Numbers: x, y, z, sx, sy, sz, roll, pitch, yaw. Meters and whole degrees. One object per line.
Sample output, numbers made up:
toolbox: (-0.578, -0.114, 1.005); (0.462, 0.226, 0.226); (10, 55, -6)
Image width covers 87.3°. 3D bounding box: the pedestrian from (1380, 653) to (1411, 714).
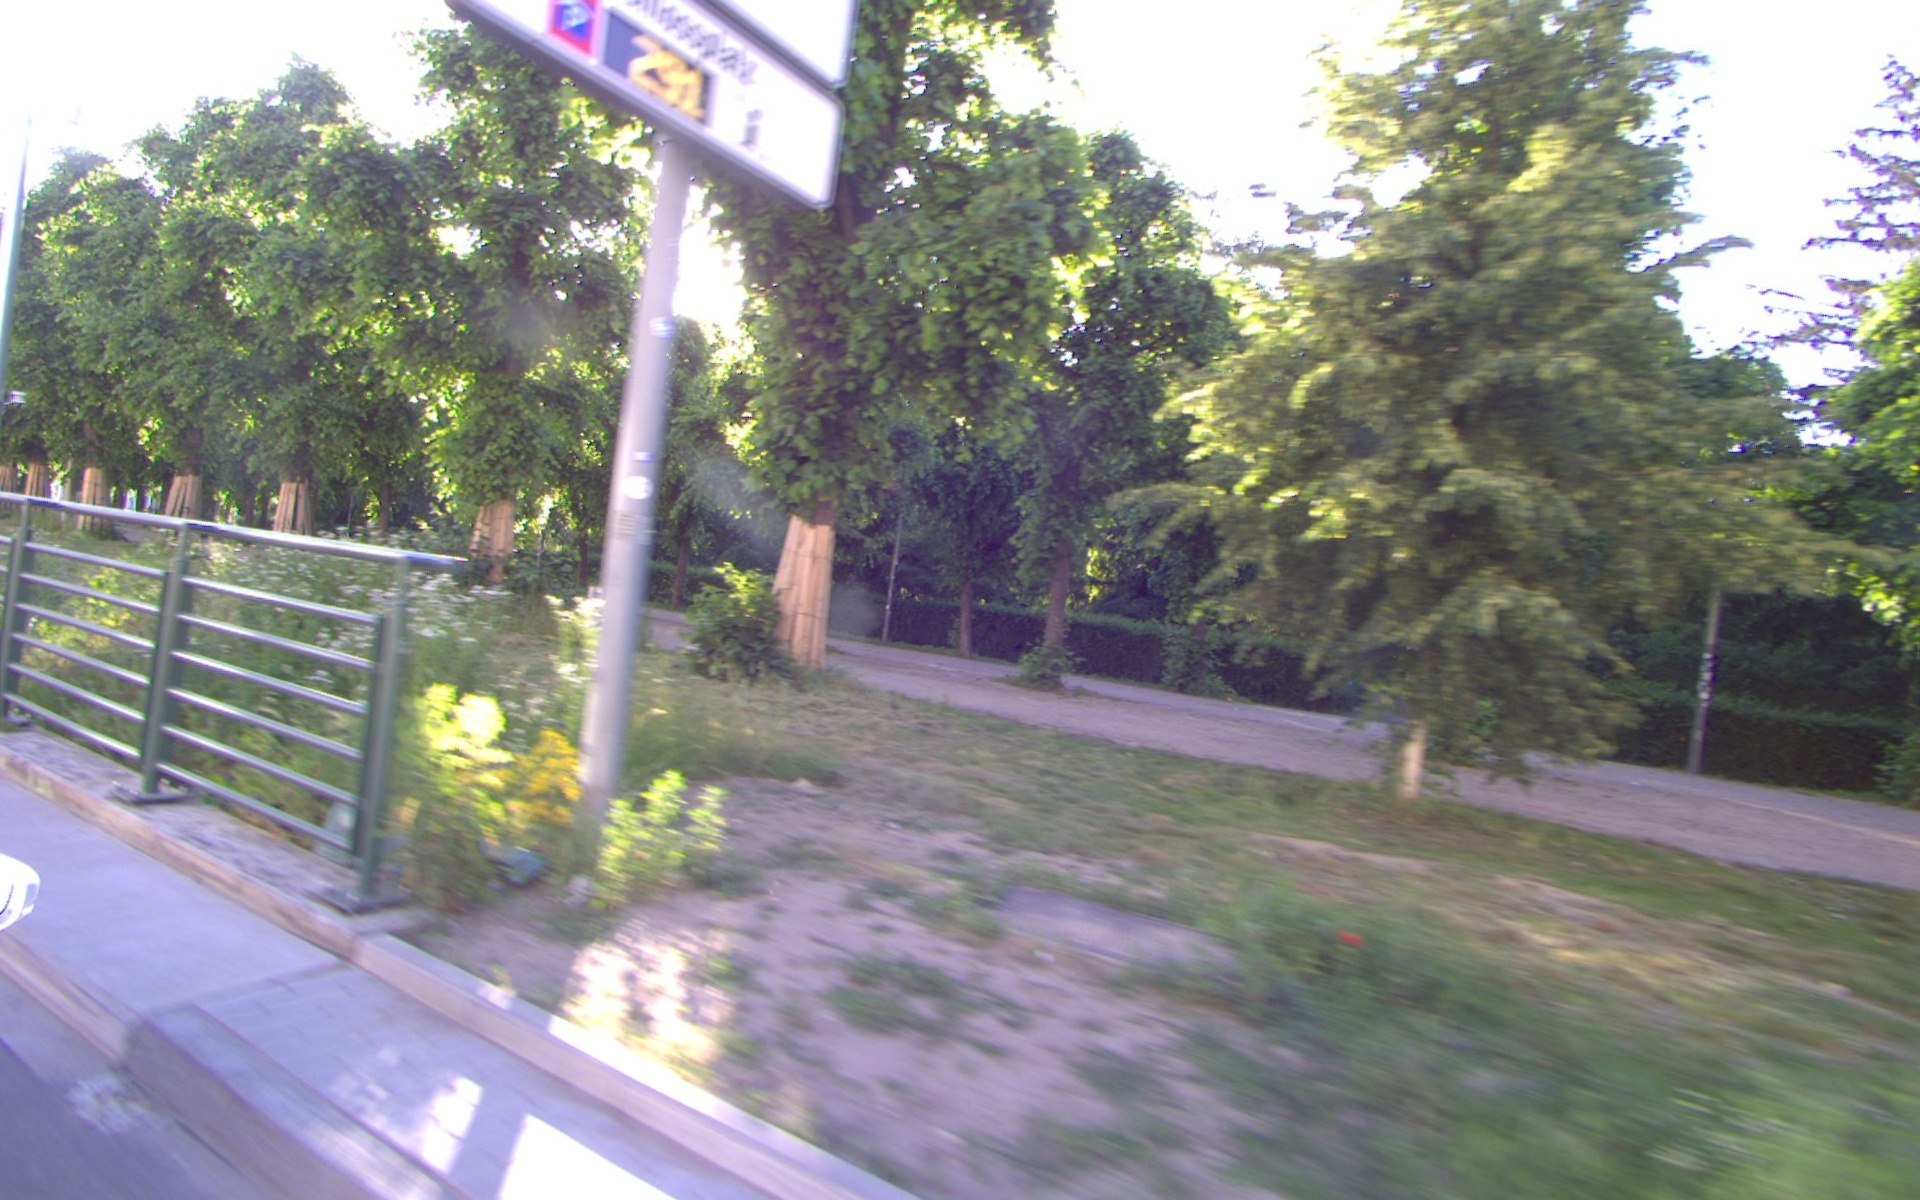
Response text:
pedestrian: (13.492, 2.573, 31.165); (0.547, 1.804, 0.660); (9, 1, 33)
